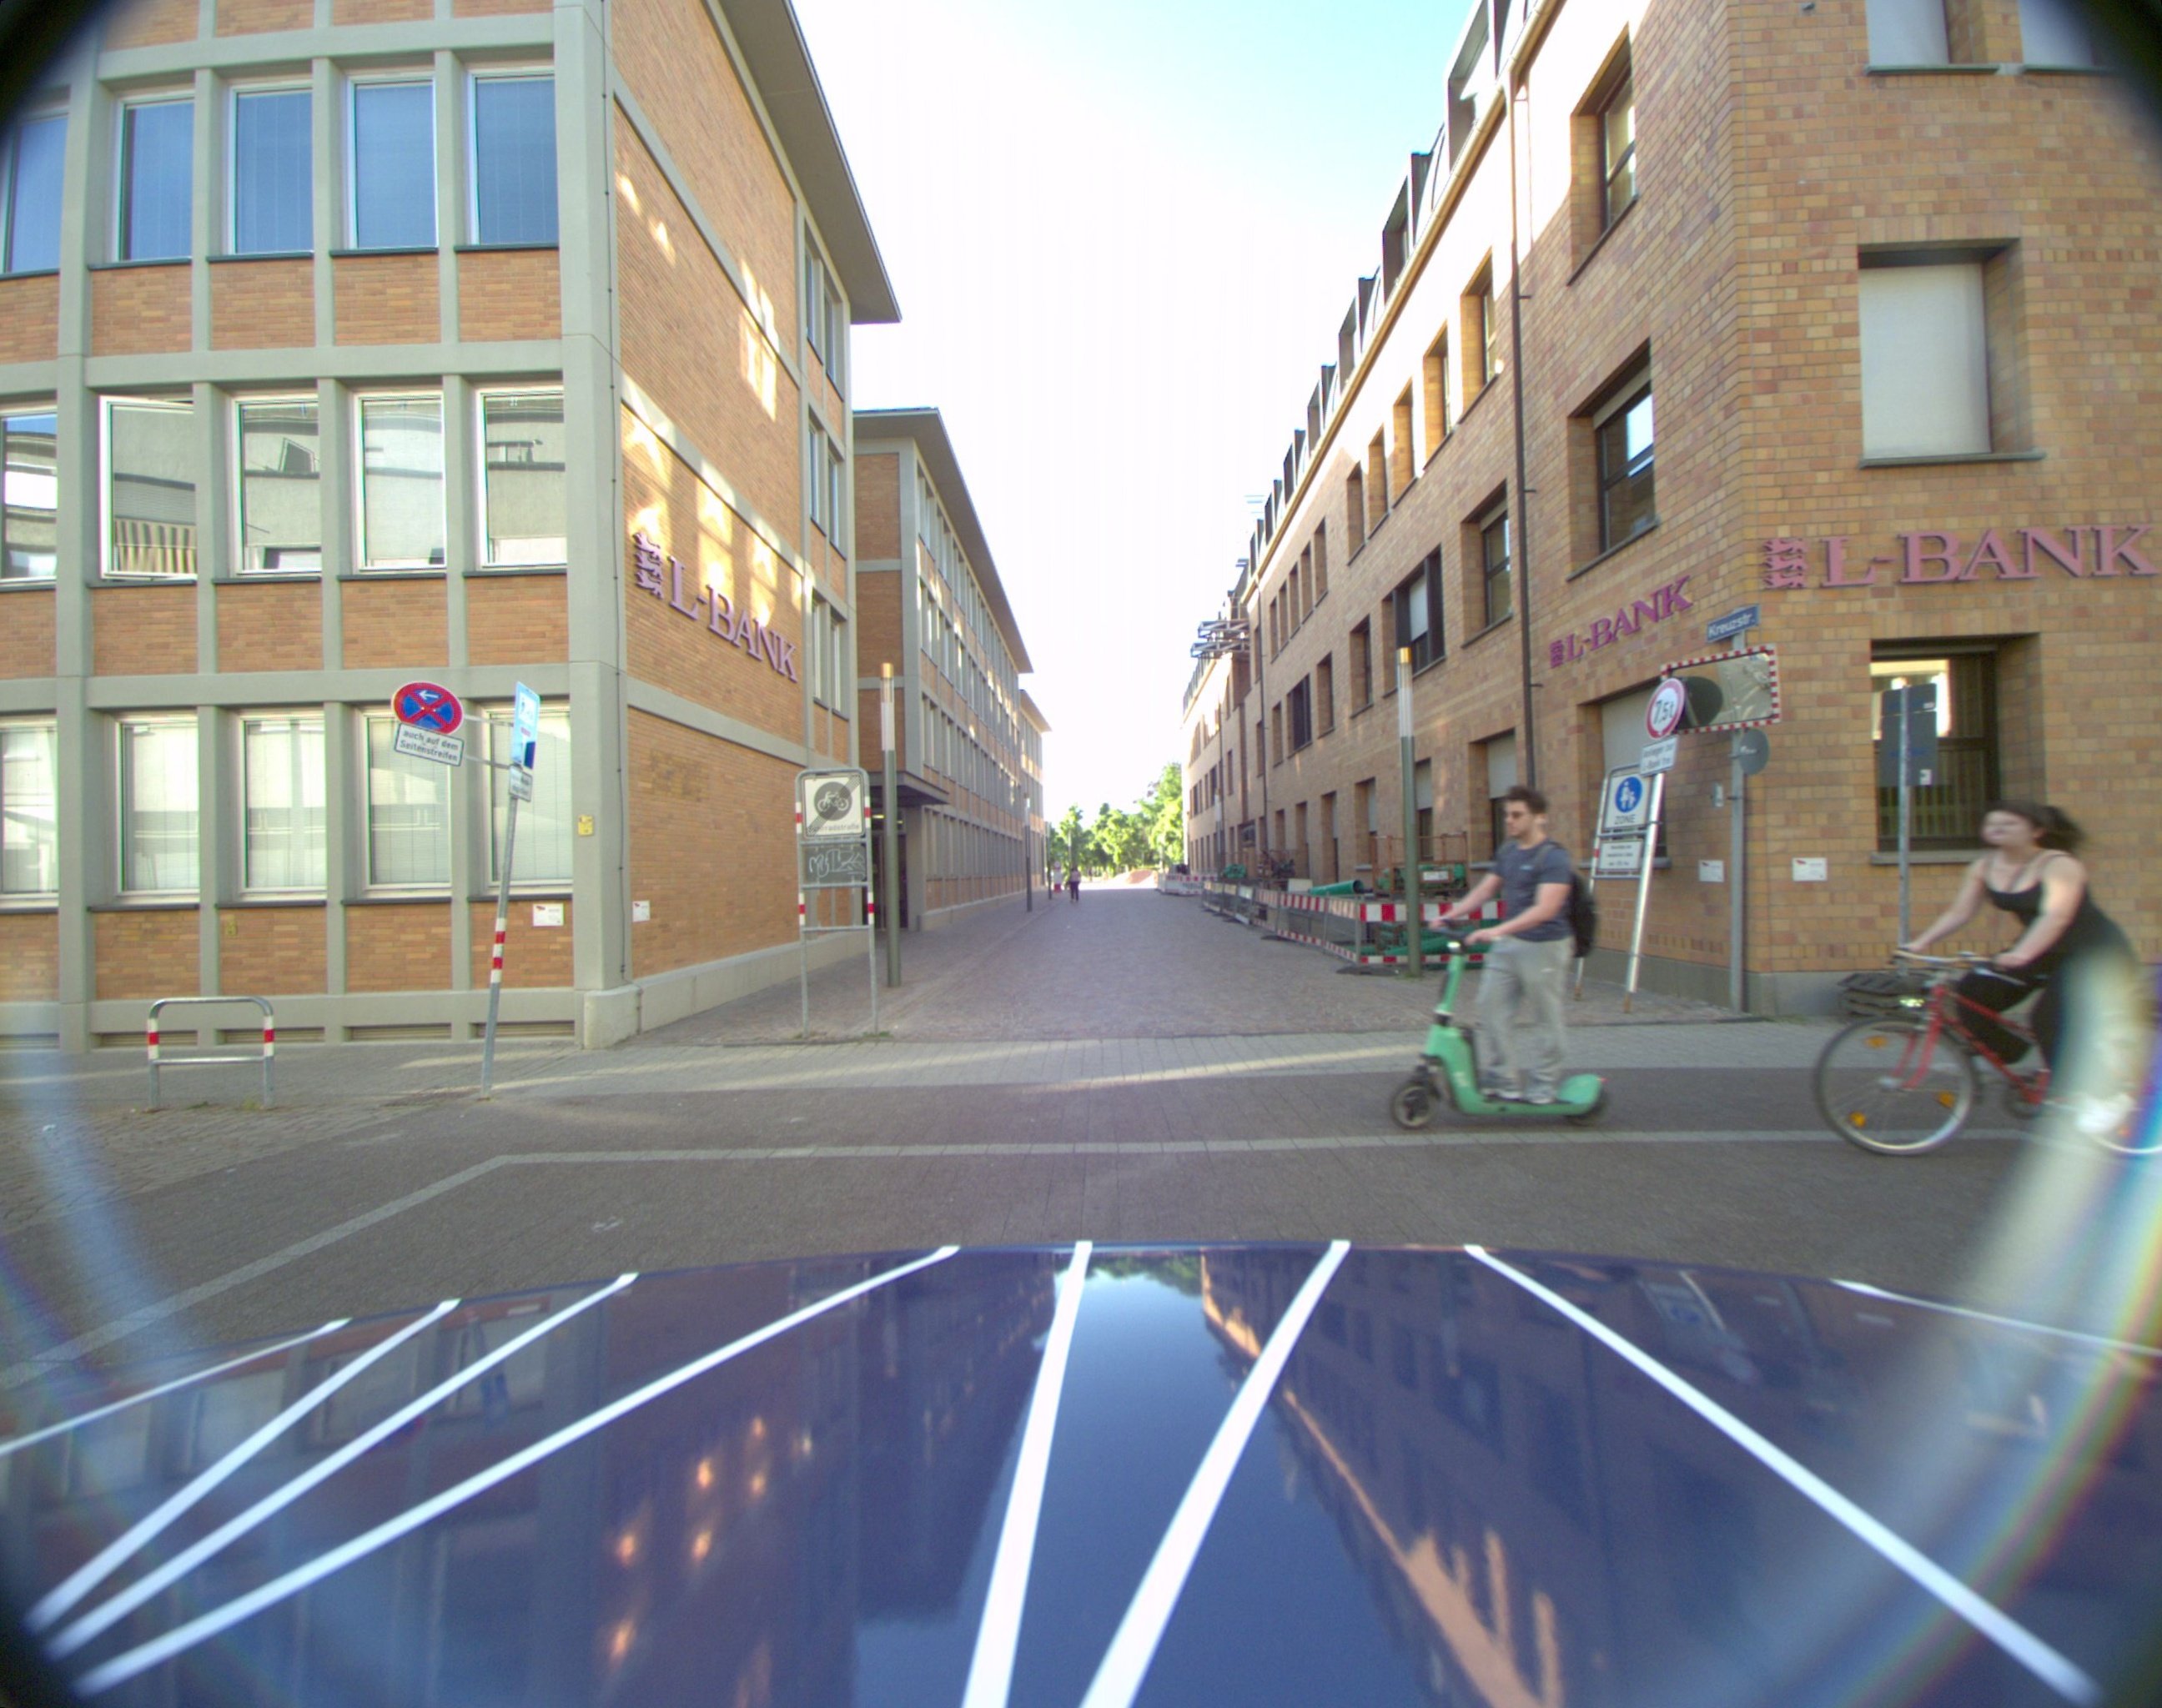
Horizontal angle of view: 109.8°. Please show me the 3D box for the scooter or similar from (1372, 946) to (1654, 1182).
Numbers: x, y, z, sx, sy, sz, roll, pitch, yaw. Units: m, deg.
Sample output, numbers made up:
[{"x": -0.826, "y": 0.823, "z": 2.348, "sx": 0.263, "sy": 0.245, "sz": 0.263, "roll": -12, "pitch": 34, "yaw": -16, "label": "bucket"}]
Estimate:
[{"x": 2.319, "y": 1.110, "z": 4.179, "sx": 1.277, "sy": 1.178, "sz": 0.337, "roll": -1, "pitch": -3, "yaw": 10, "label": "scooter or similar"}]

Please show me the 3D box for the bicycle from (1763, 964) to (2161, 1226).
[{"x": 4.465, "y": 1.100, "z": 3.635, "sx": 1.799, "sy": 1.045, "sz": 0.591, "roll": -2, "pitch": -2, "yaw": 1, "label": "bicycle"}]

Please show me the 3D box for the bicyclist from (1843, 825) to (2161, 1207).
[{"x": 4.454, "y": 0.724, "z": 3.662, "sx": 0.823, "sy": 1.656, "sz": 0.620, "roll": -2, "pitch": -3, "yaw": 2, "label": "bicyclist"}]

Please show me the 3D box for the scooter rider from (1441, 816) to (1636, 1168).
[{"x": 2.412, "y": 0.681, "z": 4.090, "sx": 0.701, "sy": 1.716, "sz": 0.649, "roll": 0, "pitch": 0, "yaw": 10, "label": "scooter rider"}]

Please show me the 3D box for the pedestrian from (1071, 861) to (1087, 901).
[{"x": -0.085, "y": 1.235, "z": 34.376, "sx": 0.638, "sy": 1.774, "sz": 0.652, "roll": -1, "pitch": -3, "yaw": 2, "label": "pedestrian"}]
